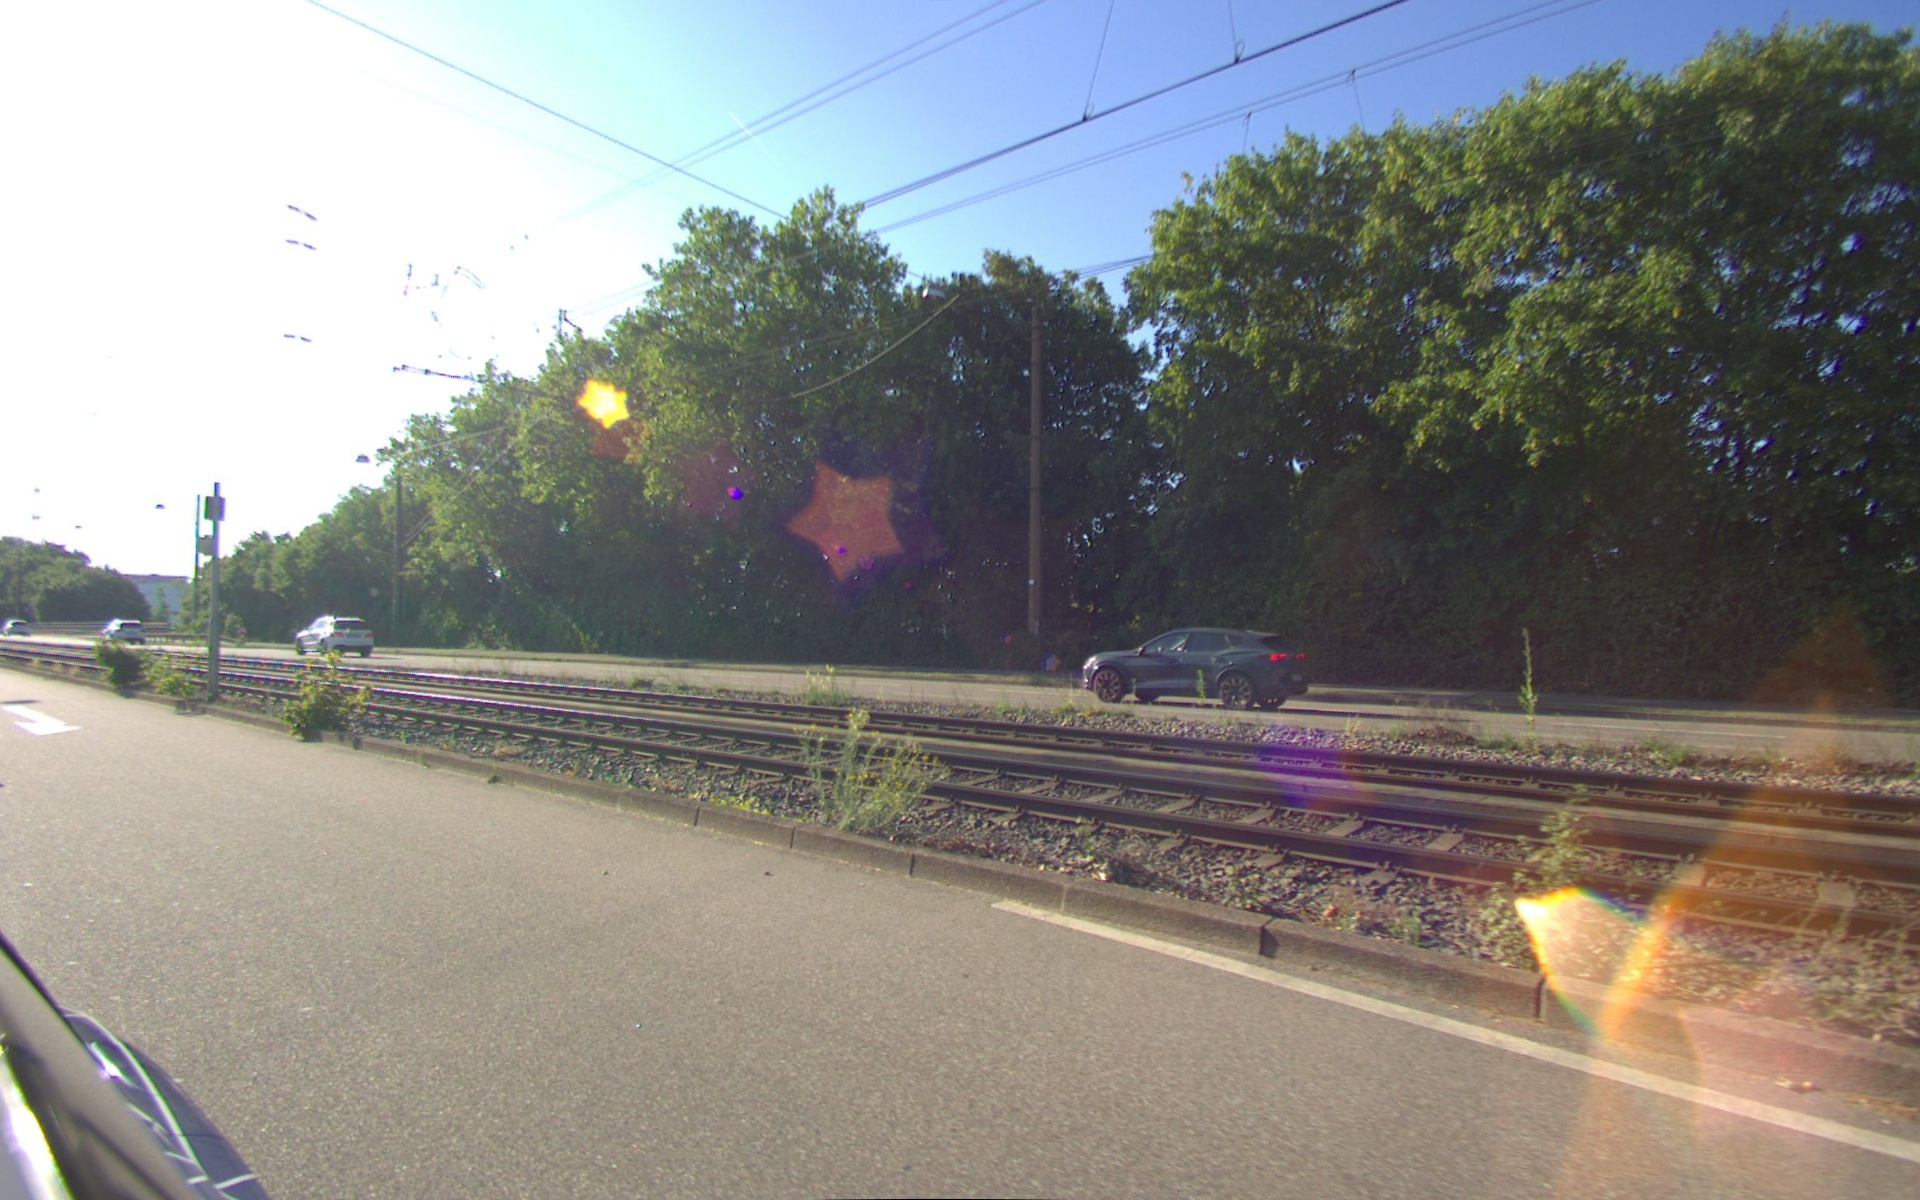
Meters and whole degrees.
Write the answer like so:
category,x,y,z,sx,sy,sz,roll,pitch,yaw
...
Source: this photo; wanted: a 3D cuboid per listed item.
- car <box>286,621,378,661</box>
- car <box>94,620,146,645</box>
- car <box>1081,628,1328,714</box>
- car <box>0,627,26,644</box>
category,x,y,z,sx,sy,sz,roll,pitch,yaw
car,-28.871,1.857,46.460,4.937,1.720,1.944,-1,-4,38
car,-60.696,2.342,73.140,4.925,1.747,1.828,-1,-4,38
car,4.637,1.314,19.530,4.342,1.479,1.694,-1,-4,39
car,-96.076,3.592,102.403,4.187,1.568,1.674,-1,-4,40
